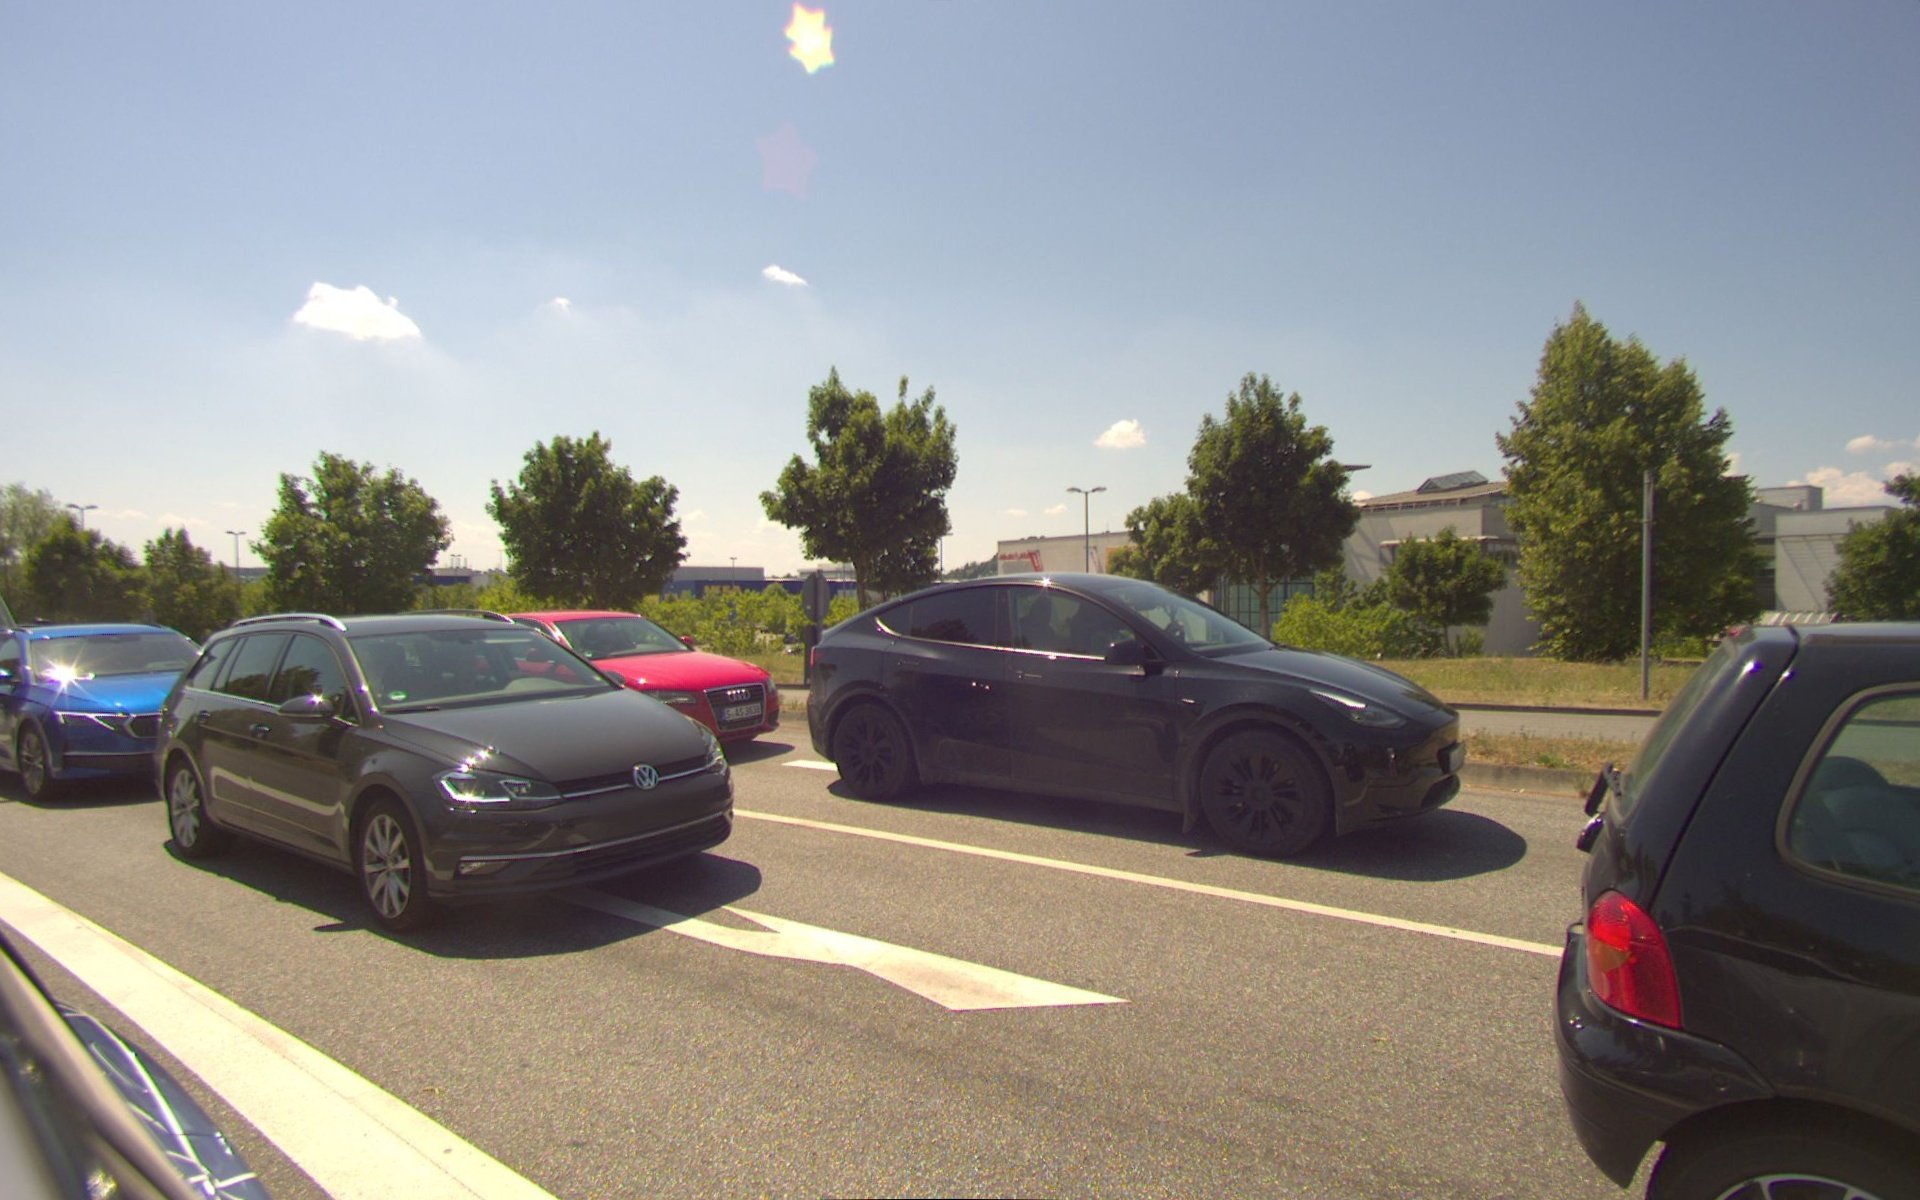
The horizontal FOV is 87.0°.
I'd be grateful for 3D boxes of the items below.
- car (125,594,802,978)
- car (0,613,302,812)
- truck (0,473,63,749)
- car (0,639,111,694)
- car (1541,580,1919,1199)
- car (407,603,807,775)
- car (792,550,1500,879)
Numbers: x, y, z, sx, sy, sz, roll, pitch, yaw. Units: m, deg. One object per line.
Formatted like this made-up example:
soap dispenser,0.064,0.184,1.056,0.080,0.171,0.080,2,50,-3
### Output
car,-3.140,0.764,5.992,4.420,1.493,1.762,-1,0,36
car,-8.332,0.947,9.640,4.474,1.473,1.695,-2,0,32
truck,-15.121,0.283,13.718,7.176,3.373,2.390,-3,-1,31
car,-35.196,2.523,38.747,3.952,1.975,1.996,-1,0,7
car,2.872,0.667,1.524,3.295,1.418,1.604,-1,-1,37
car,-3.779,0.782,10.483,4.440,1.399,1.646,-1,1,36
car,1.097,0.581,7.043,4.496,1.613,1.859,-1,0,36
